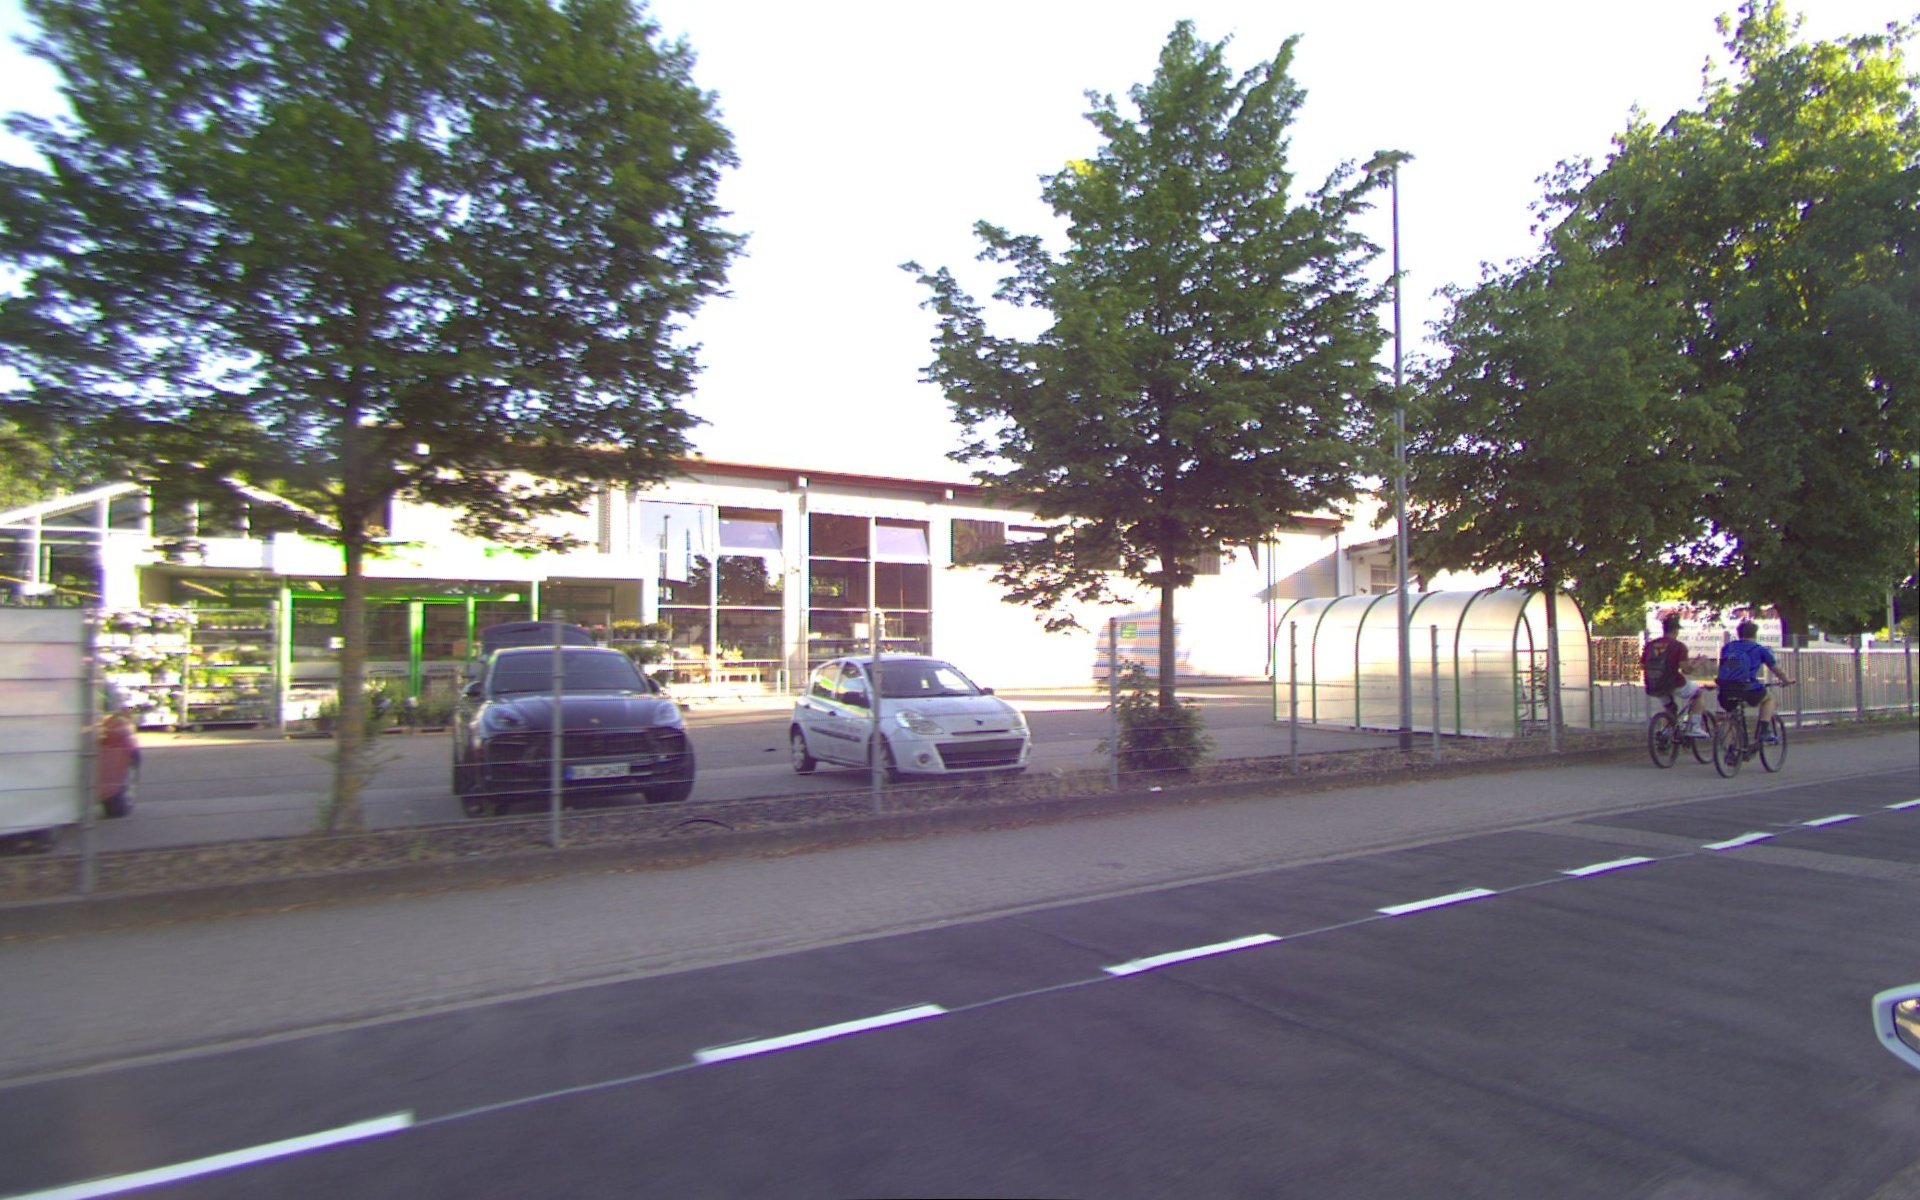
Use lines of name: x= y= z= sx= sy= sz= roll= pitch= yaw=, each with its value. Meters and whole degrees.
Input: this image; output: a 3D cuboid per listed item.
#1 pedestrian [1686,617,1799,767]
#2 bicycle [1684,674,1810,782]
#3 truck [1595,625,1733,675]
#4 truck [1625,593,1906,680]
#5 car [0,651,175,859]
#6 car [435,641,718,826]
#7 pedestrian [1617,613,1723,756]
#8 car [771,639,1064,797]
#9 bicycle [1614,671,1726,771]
pedestrian: x=9.558 y=1.098 z=12.269 sx=1.045 sy=1.743 sz=0.717 roll=1 pitch=-3 yaw=-30
bicycle: x=9.556 y=1.507 z=12.171 sx=2.175 sy=1.164 sz=0.444 roll=1 pitch=-1 yaw=-31
truck: x=42.647 y=3.038 z=61.077 sx=2.290 sy=2.844 sz=6.464 roll=1 pitch=-3 yaw=-31
truck: x=37.456 y=1.710 z=47.343 sx=2.744 sy=3.662 sz=10.050 roll=2 pitch=-2 yaw=-30
car: x=-8.084 y=1.250 z=8.510 sx=1.785 sy=1.469 sz=3.709 roll=1 pitch=-5 yaw=-31
car: x=-4.136 y=1.264 z=10.381 sx=2.029 sy=1.469 sz=4.166 roll=1 pitch=-5 yaw=-31
pedestrian: x=9.132 y=1.062 z=12.926 sx=1.045 sy=1.743 sz=0.717 roll=1 pitch=-3 yaw=-30
car: x=-0.682 y=1.329 z=11.904 sx=1.766 sy=1.530 sz=3.870 roll=1 pitch=-5 yaw=-32
bicycle: x=9.174 y=1.526 z=12.952 sx=1.847 sy=1.164 sz=0.467 roll=1 pitch=-1 yaw=-31
